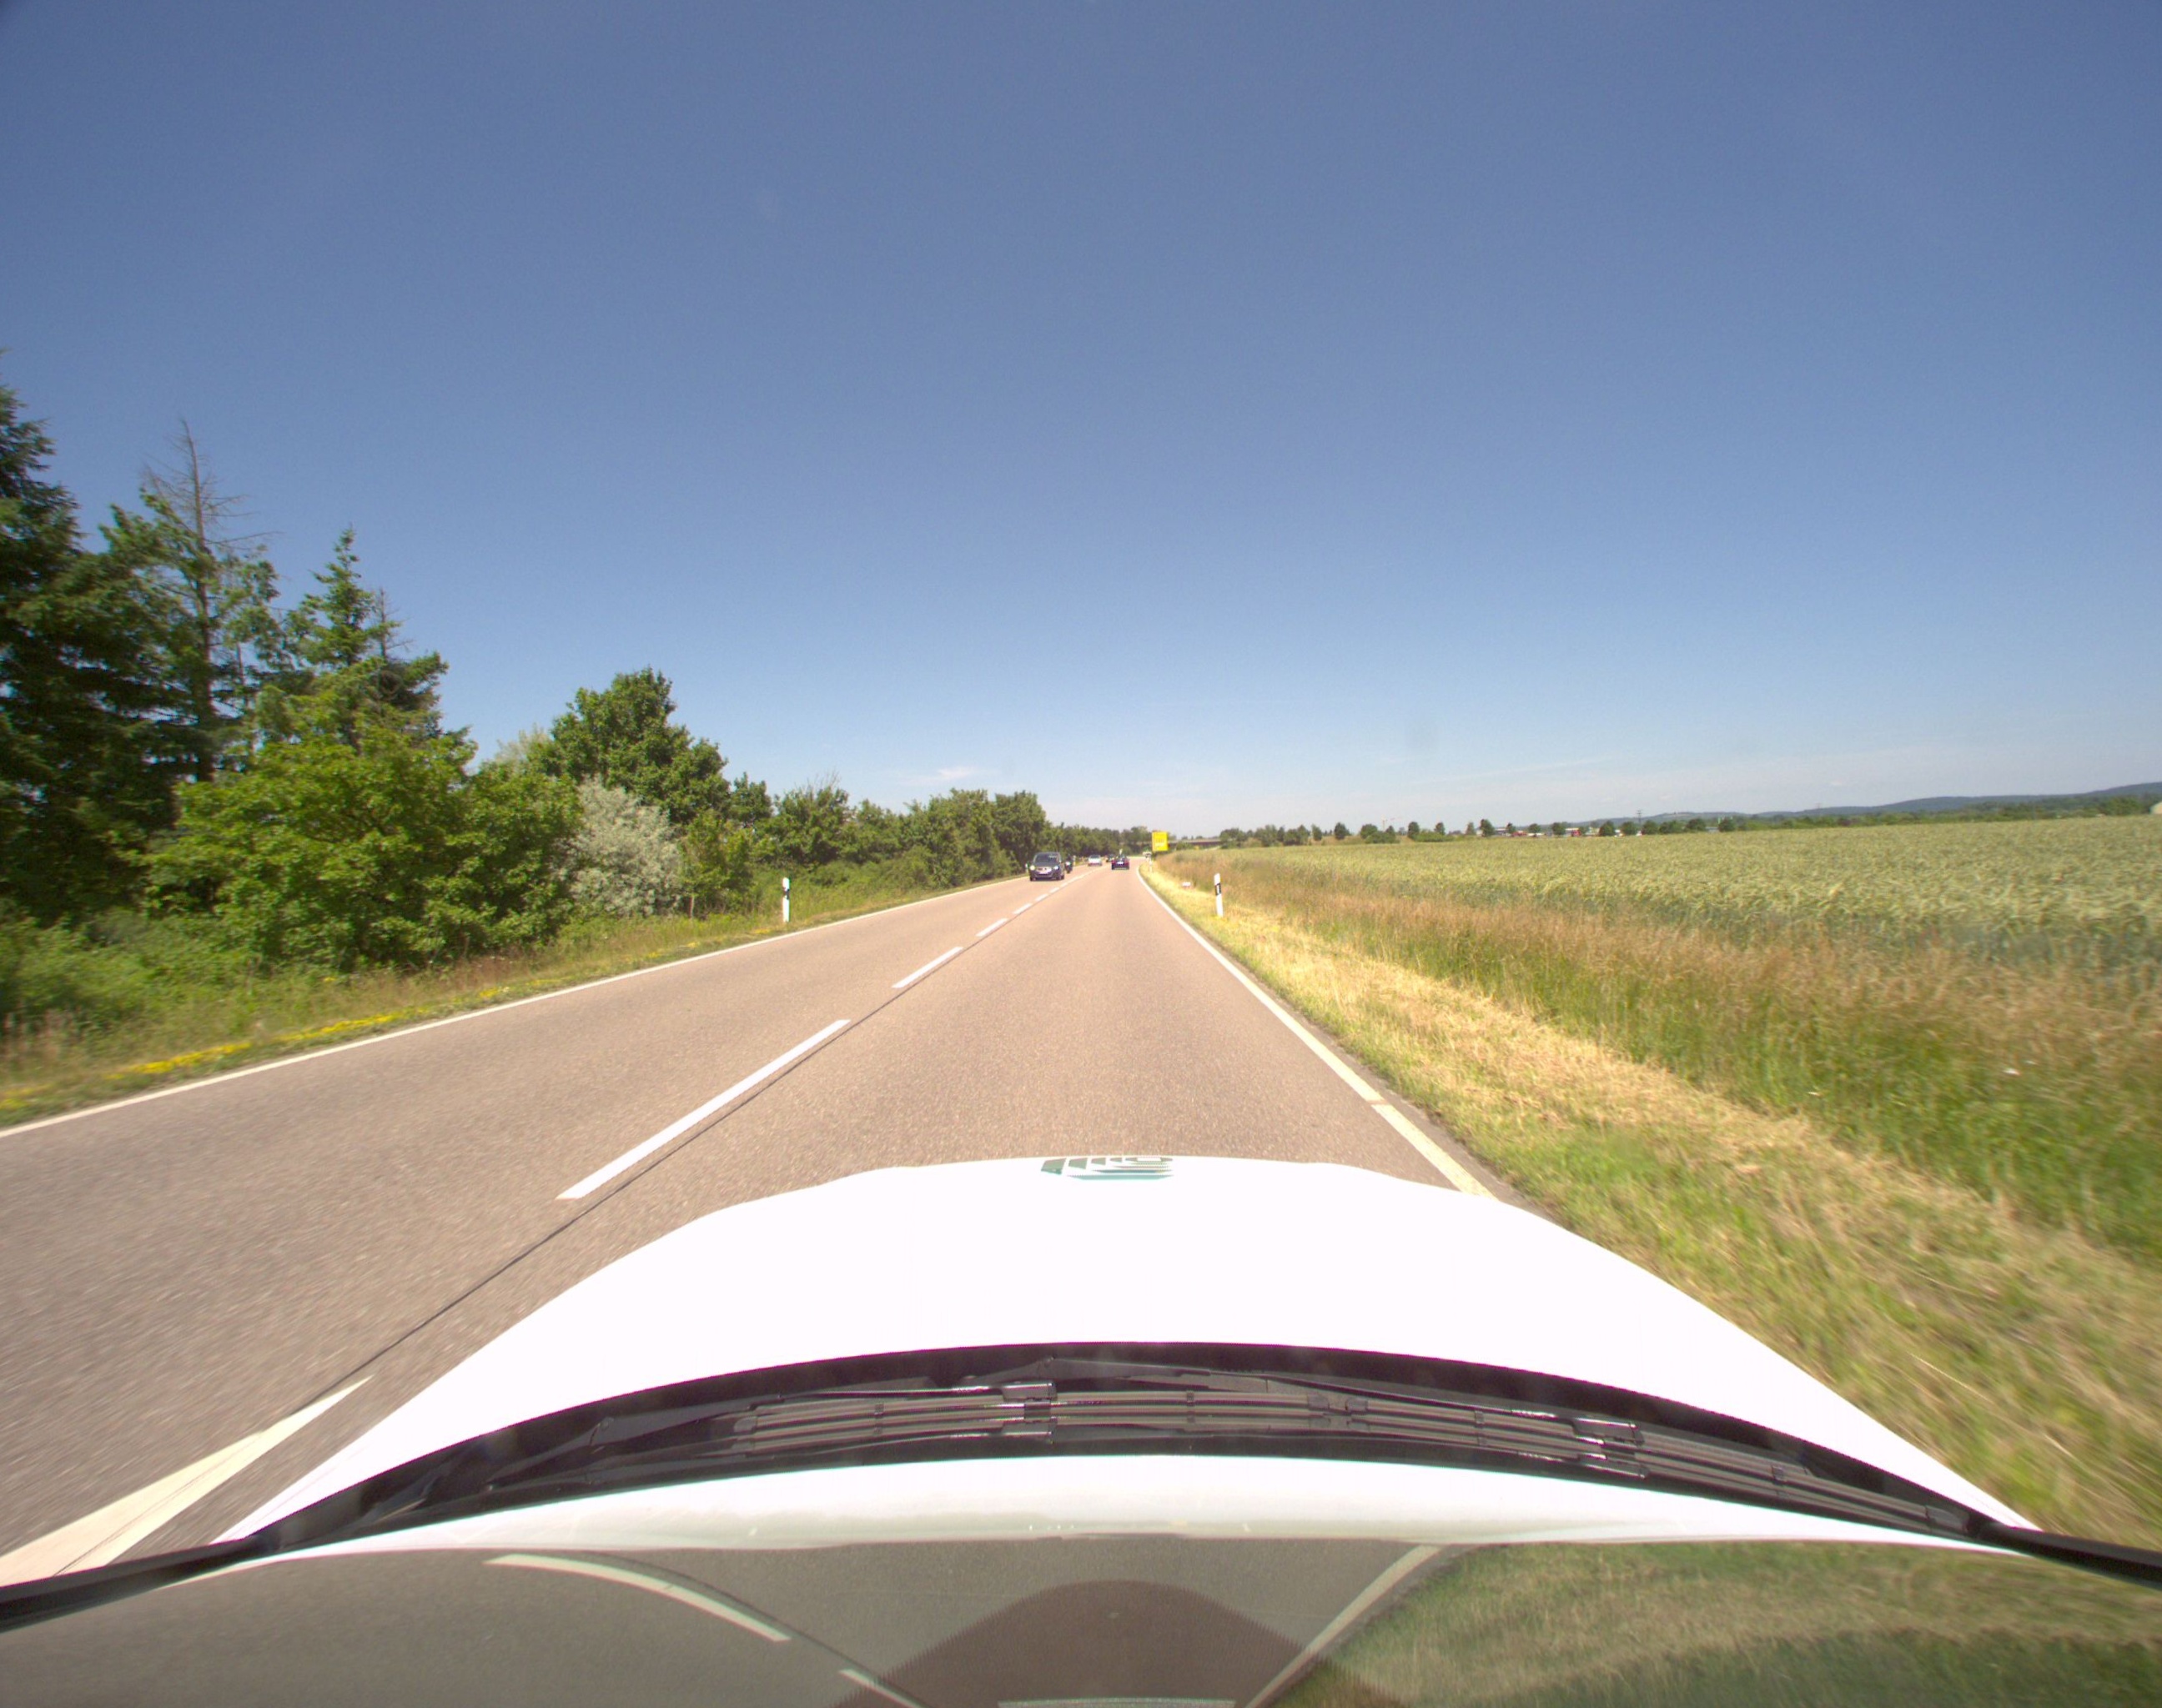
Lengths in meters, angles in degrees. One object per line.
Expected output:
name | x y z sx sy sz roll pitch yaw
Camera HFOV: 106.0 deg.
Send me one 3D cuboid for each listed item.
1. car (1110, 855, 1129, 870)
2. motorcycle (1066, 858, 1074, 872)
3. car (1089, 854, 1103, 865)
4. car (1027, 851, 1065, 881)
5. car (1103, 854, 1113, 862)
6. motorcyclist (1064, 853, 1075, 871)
car | 3.912 0.815 82.035 1.806 1.441 4.005 0 0 4
motorcycle | -0.935 0.938 67.760 0.615 1.108 2.022 -1 0 1
car | 1.967 0.730 107.512 1.700 1.381 3.822 -1 0 3
car | -2.091 0.685 49.486 1.811 1.701 5.004 -1 0 2
car | 4.828 0.661 146.123 1.590 1.442 4.004 0 0 3
motorcyclist | -0.928 0.683 67.656 0.832 1.474 1.818 -1 0 1
